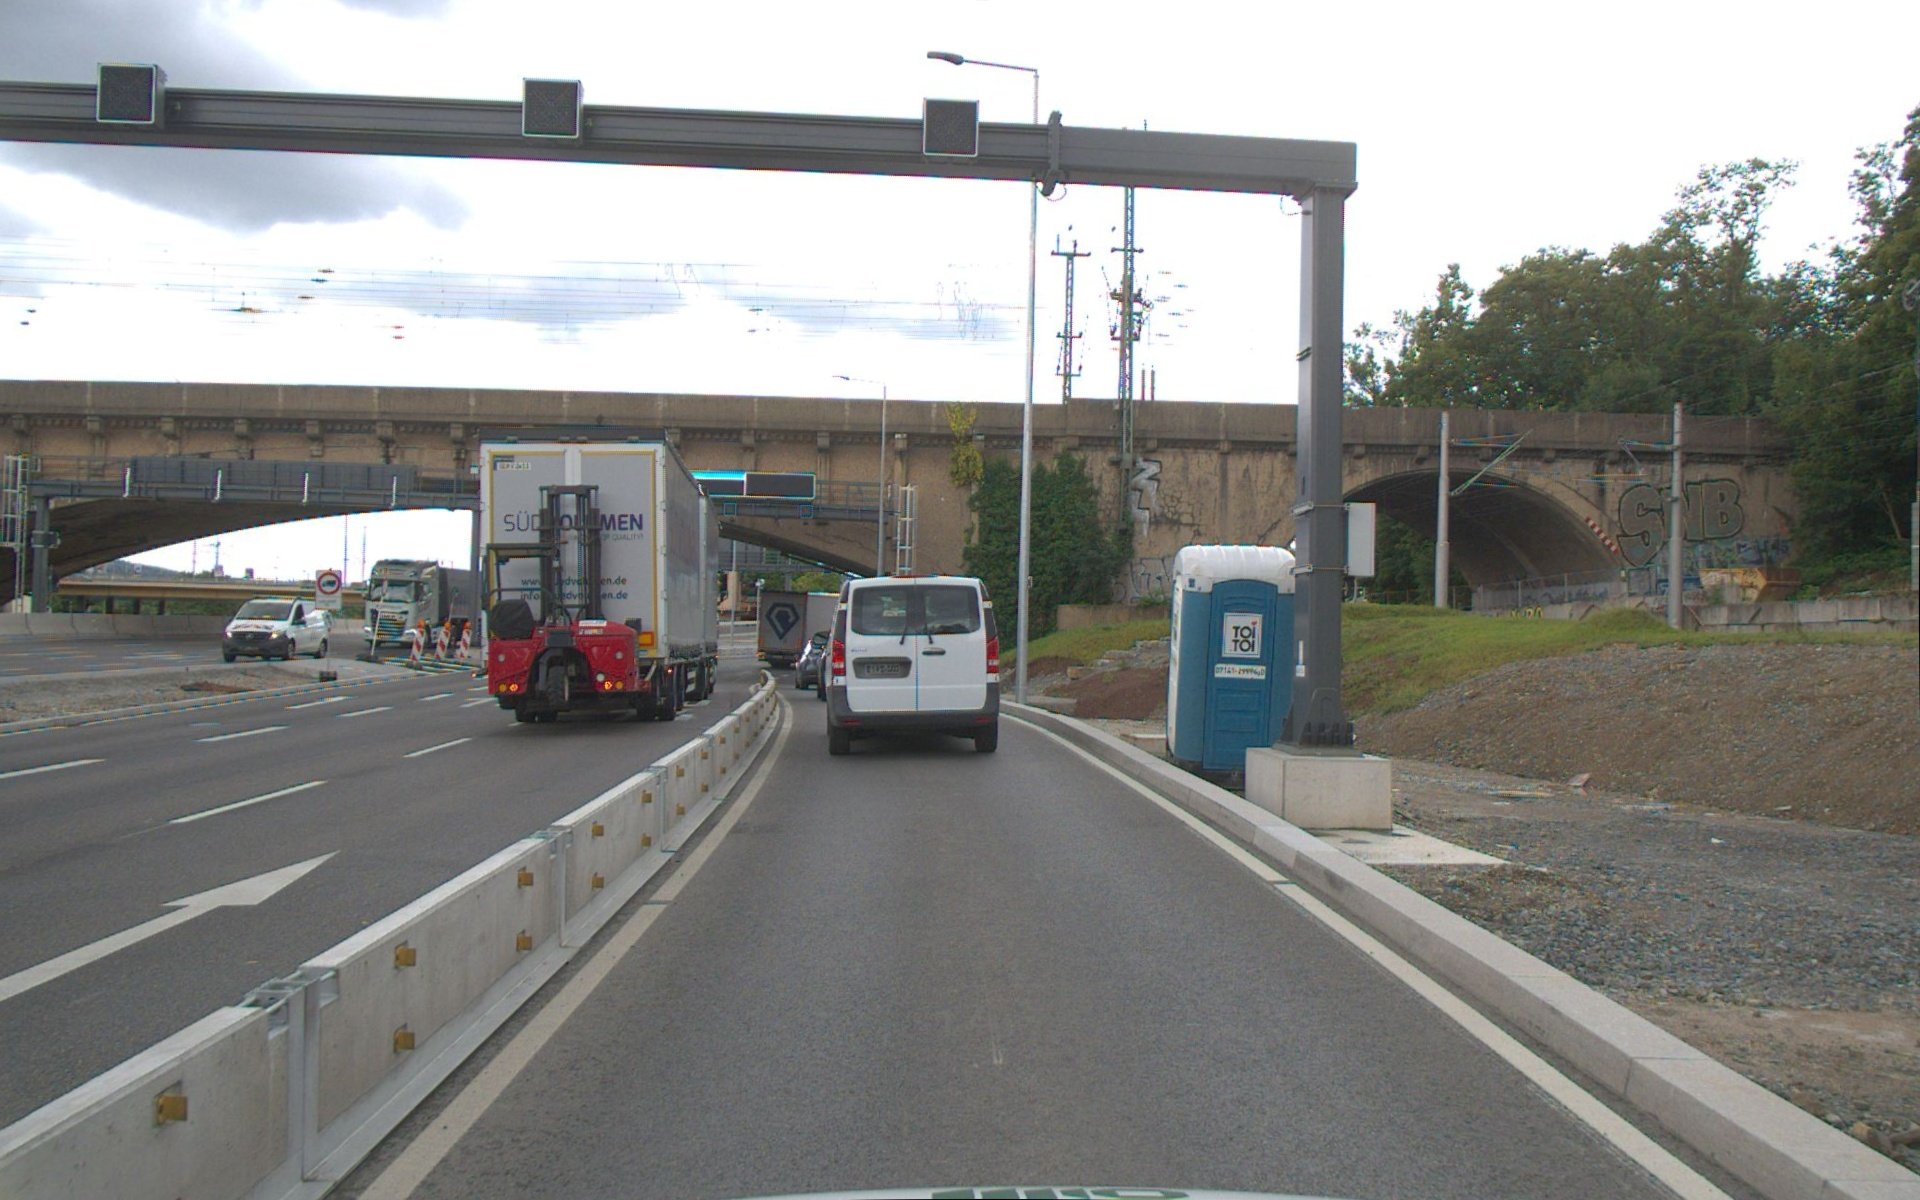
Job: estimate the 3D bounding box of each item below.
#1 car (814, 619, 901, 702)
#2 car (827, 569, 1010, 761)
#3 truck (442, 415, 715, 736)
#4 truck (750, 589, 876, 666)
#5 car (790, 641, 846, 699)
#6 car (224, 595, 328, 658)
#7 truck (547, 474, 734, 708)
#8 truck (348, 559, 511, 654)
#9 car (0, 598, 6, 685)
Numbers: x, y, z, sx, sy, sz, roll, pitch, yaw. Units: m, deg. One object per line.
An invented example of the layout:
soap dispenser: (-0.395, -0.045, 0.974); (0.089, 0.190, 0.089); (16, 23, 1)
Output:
car: (-2.166, 1.258, 35.126); (1.715, 1.654, 3.841); (1, -1, -4)
car: (-0.417, 0.662, 19.321); (1.838, 1.924, 4.753); (1, 0, 0)
truck: (-5.630, -0.237, 26.259); (2.861, 4.087, 10.187); (-1, -1, -5)
truck: (-8.103, 1.632, 94.545); (3.246, 3.876, 16.604); (3, -1, 8)
car: (-3.962, 1.973, 46.055); (1.472, 1.495, 3.394); (2, -4, -5)
car: (-20.661, 0.794, 50.125); (1.790, 1.839, 3.797); (1, -1, -5)
truck: (-6.628, -0.081, 35.961); (2.930, 4.249, 11.225); (-1, -1, -6)
truck: (-25.275, 0.359, 79.835); (2.839, 4.133, 13.991); (1, -1, 2)
car: (-19.496, 0.779, 30.257); (1.764, 1.691, 4.285); (1, -1, -3)
